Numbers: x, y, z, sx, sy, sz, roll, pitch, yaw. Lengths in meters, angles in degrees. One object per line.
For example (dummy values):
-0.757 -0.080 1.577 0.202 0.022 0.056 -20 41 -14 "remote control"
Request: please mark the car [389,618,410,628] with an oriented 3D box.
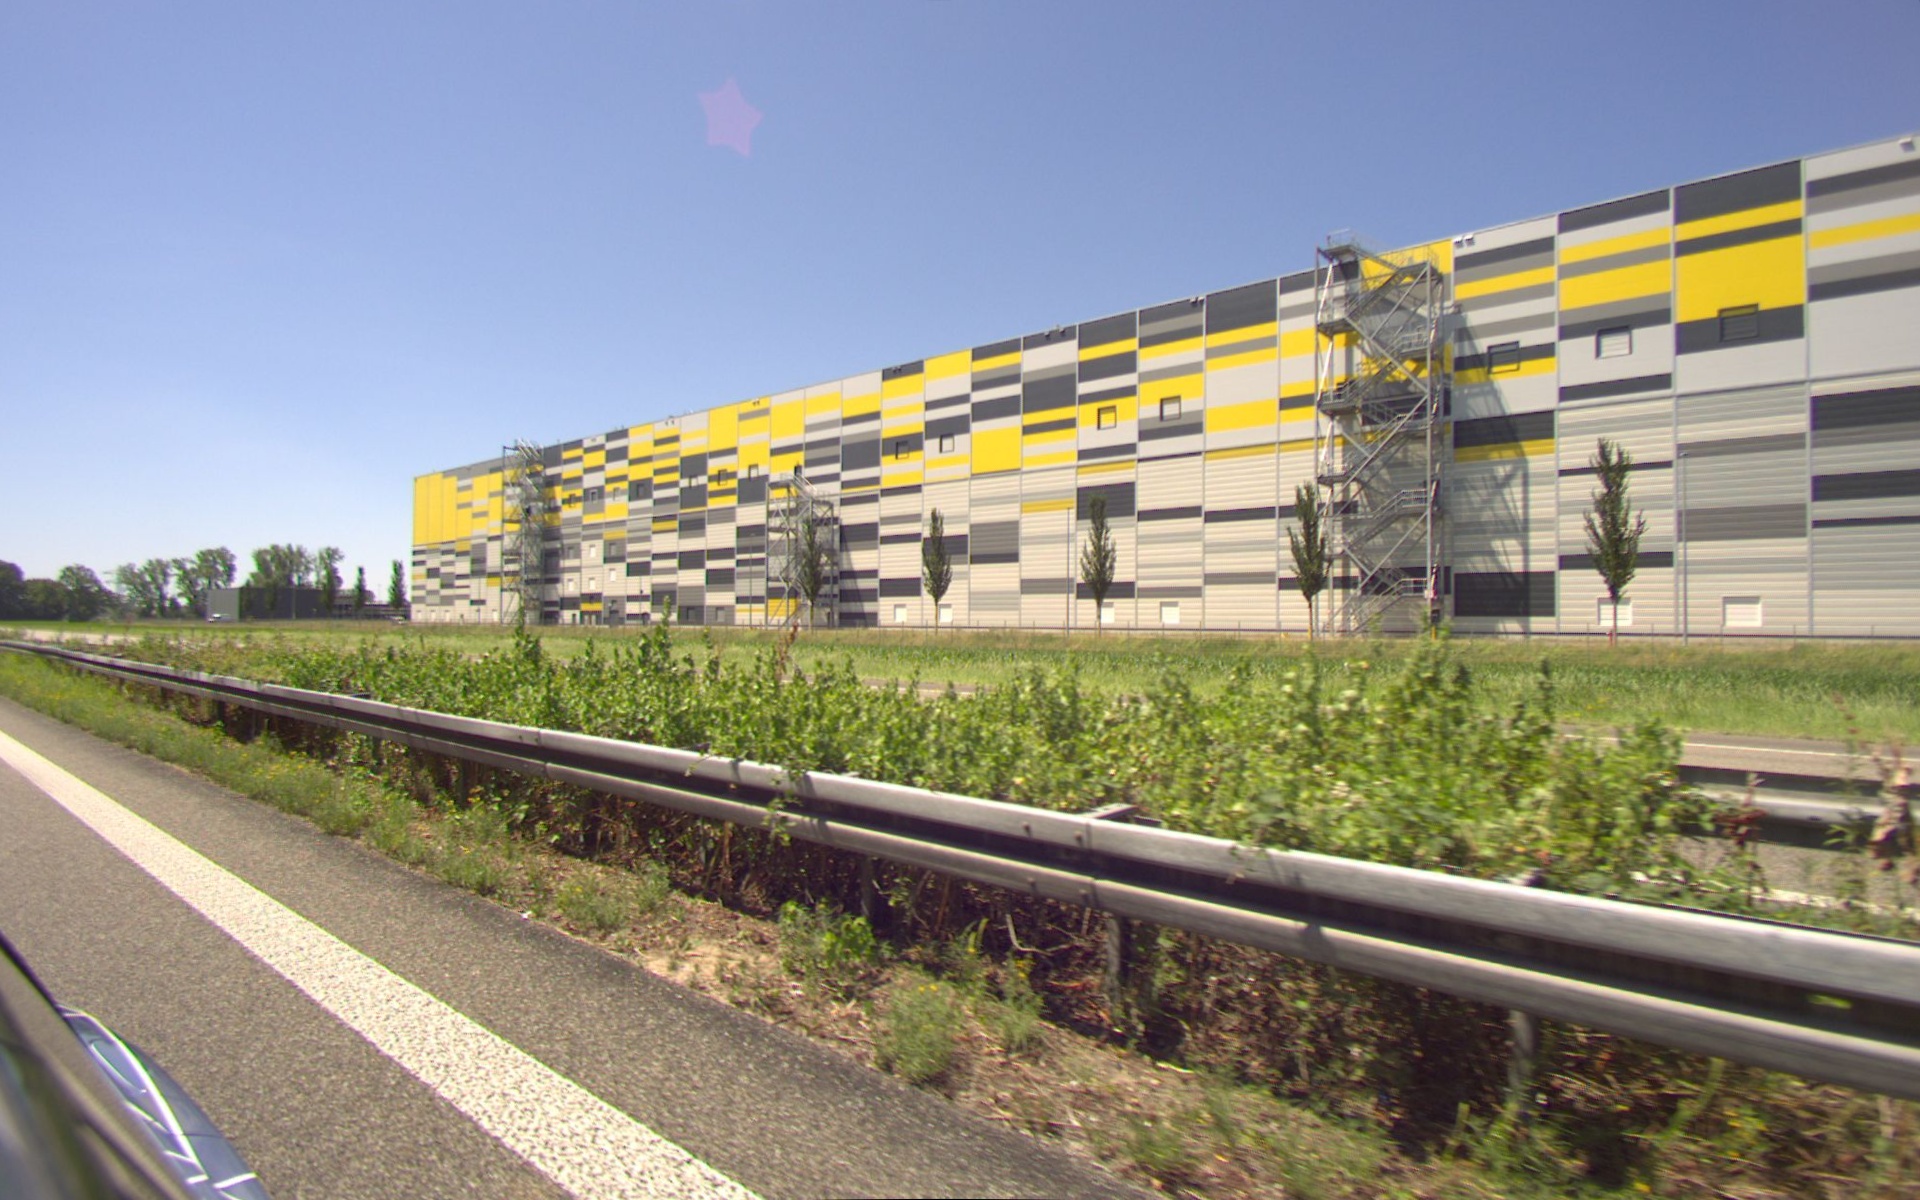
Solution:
-98.988 4.062 178.787 4.266 1.750 1.808 -1 -2 40 "car"
